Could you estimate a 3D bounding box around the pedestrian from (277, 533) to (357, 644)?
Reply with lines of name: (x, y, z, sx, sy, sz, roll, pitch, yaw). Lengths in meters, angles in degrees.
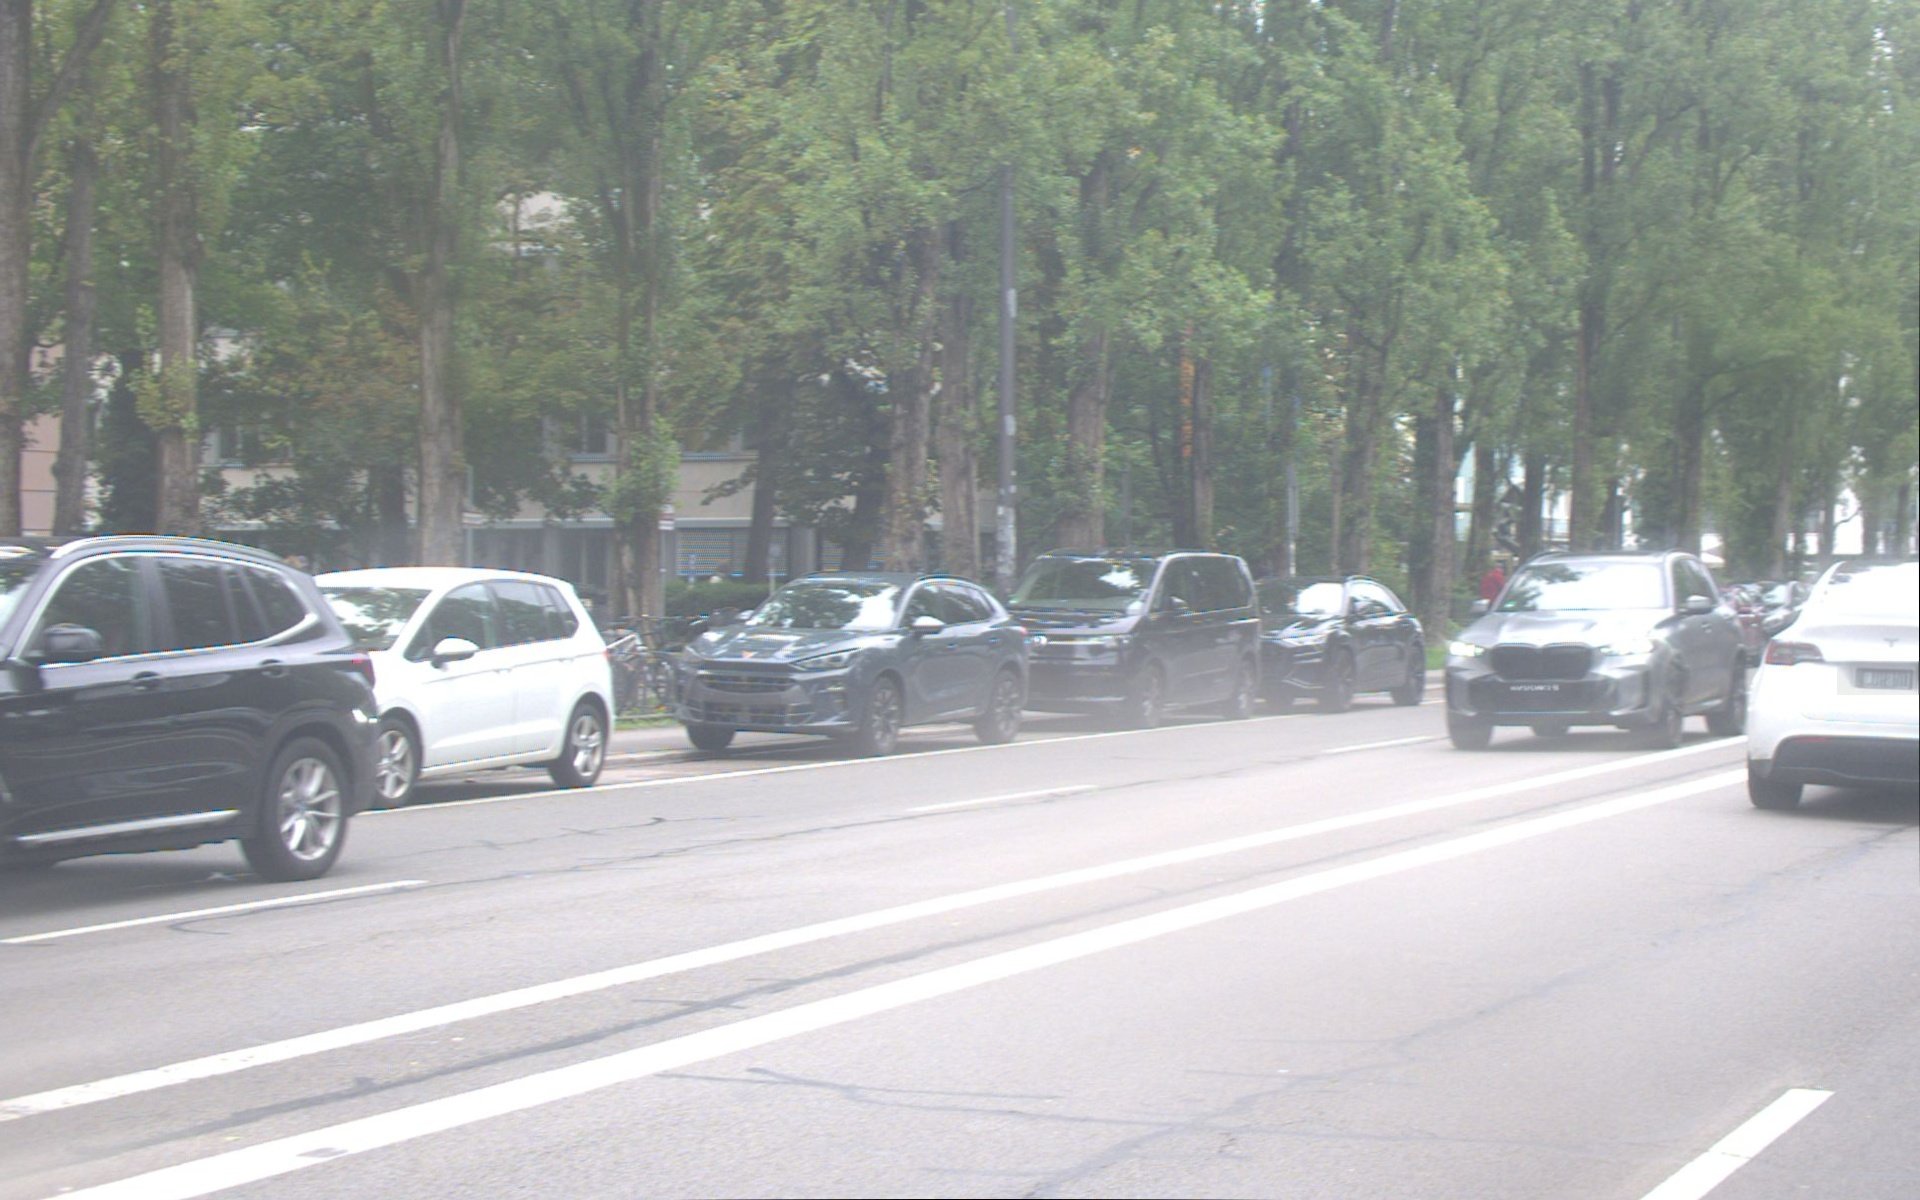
pedestrian: (-9.649, -0.172, 51.589, 0.815, 1.656, 0.896, 0, 0, 24)

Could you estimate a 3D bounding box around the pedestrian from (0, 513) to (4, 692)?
pedestrian: (-9.616, 0.025, 32.687, 0.708, 1.708, 0.731, 0, 0, 24)

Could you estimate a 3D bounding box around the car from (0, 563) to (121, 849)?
car: (-6.462, 0.596, 17.883, 1.803, 1.536, 4.228, -1, 0, 25)

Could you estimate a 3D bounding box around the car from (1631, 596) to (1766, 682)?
car: (14.054, 0.715, 65.279, 1.763, 1.573, 3.967, 0, 0, 23)

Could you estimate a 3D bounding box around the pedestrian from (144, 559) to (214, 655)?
pedestrian: (-13.623, 0.123, 59.986, 0.815, 1.656, 0.896, 0, 0, 24)

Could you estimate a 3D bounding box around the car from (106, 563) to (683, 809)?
car: (-3.801, 0.529, 23.923, 1.996, 1.536, 4.319, 0, 0, 22)

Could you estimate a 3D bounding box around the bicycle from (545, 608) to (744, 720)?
bicycle: (-3.291, 0.660, 35.824, 1.985, 1.120, 0.675, 0, 0, 24)

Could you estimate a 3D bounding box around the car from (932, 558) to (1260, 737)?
car: (1.551, 0.461, 37.088, 1.996, 1.791, 4.756, 0, 0, 23)

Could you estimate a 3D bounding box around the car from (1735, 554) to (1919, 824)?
car: (6.515, 0.525, 22.474, 1.996, 1.570, 4.633, 2, 1, 23)

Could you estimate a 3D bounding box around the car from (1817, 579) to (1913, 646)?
car: (21.789, 0.283, 82.704, 1.763, 1.573, 3.457, 0, 0, 23)

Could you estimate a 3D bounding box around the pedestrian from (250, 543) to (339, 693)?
pedestrian: (-7.658, 0.206, 39.557, 0.708, 1.708, 0.731, 0, 0, 24)

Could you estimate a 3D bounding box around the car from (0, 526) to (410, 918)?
car: (-4.590, 0.512, 15.574, 1.996, 1.637, 4.545, -1, 0, 24)

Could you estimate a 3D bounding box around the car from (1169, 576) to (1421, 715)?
car: (4.171, 0.521, 42.180, 1.996, 1.601, 4.348, 0, 0, 21)

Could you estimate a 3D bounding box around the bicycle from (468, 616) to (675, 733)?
bicycle: (-3.887, 0.735, 34.400, 1.985, 1.120, 0.675, 0, 0, 24)

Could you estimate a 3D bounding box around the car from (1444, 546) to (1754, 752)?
car: (5.902, 0.422, 31.278, 1.995, 1.711, 4.754, -1, 0, 20)

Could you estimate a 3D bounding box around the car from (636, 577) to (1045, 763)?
car: (-0.987, 0.574, 31.073, 1.996, 1.536, 4.319, 0, 0, 24)

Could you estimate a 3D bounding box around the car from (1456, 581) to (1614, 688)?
car: (9.212, 0.514, 54.919, 1.944, 1.573, 3.607, 0, 1, 19)

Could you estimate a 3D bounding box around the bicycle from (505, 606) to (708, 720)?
bicycle: (-3.617, 0.629, 35.142, 1.985, 1.120, 0.675, 0, 0, 24)
